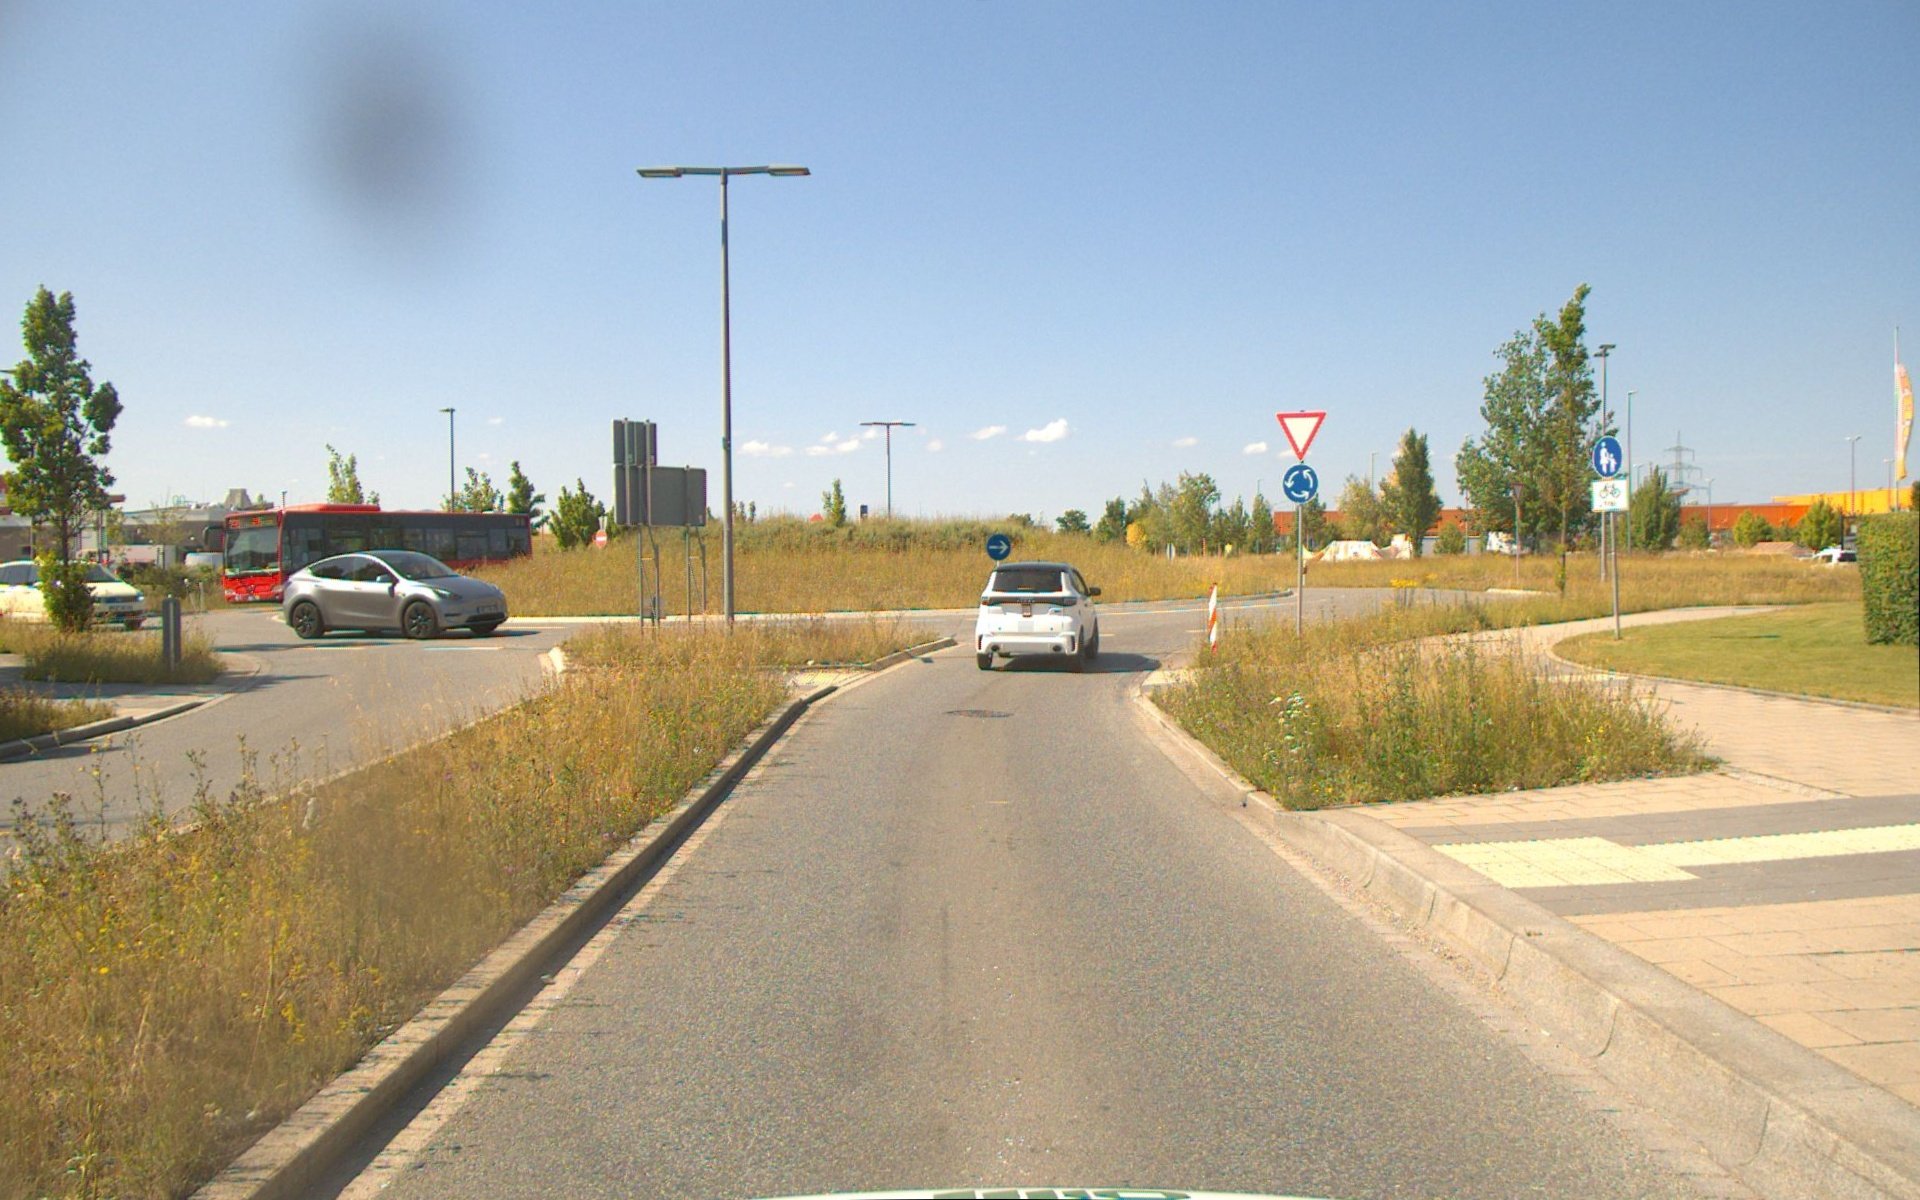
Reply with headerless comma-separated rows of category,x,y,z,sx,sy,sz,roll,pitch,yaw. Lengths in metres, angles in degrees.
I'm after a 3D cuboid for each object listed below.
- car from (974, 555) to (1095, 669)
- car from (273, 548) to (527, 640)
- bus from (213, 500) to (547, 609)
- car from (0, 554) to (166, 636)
car,1.175,0.117,24.453,1.582,1.459,3.796,0,3,5
car,-10.799,-0.161,31.873,4.517,1.654,1.963,1,3,25
bus,-18.436,-1.622,54.048,2.730,3.132,12.203,-1,3,23
car,-20.542,-0.100,38.029,4.489,1.694,1.844,-1,2,30
